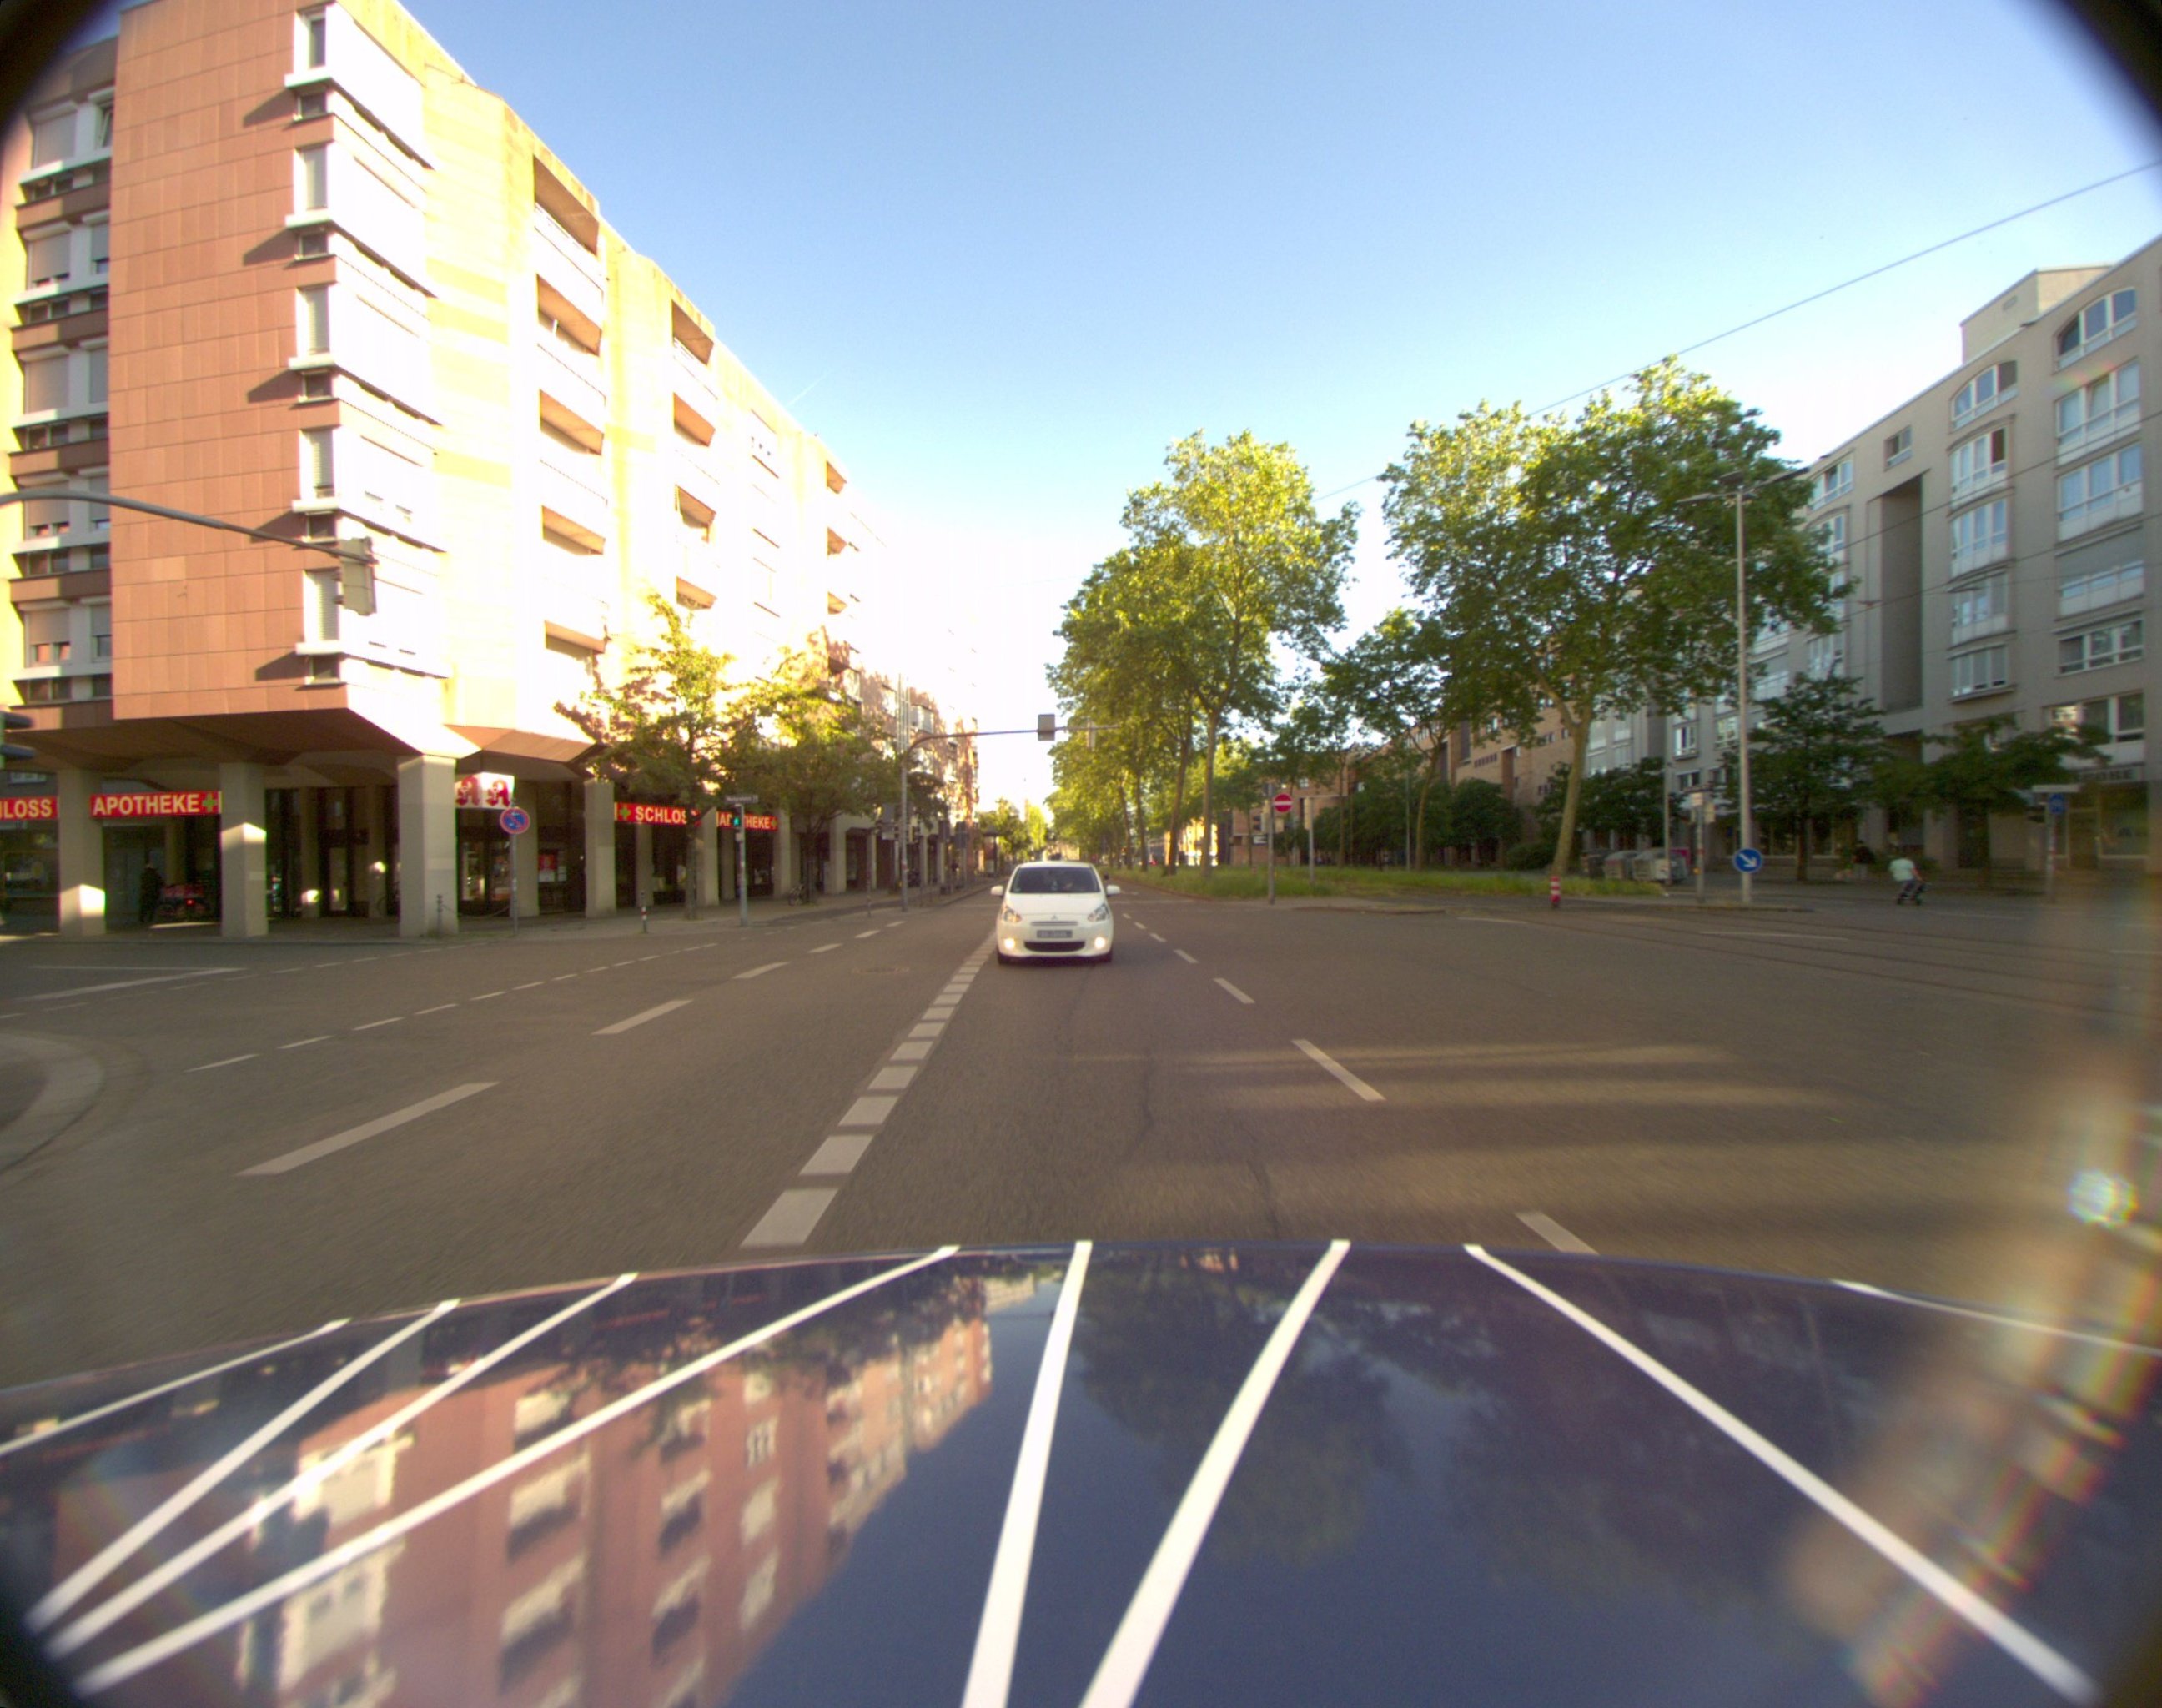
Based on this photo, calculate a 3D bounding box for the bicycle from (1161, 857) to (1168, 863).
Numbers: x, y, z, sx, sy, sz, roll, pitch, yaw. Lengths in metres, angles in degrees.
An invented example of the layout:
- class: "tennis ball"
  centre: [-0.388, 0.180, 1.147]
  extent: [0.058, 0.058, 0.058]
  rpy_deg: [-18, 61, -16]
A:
- class: "bicycle"
  centre: [17.354, 1.192, 157.937]
  extent: [0.959, 1.119, 2.436]
  rpy_deg: [-1, 0, -1]

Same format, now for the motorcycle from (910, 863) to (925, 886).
- class: "motorcycle"
  centre: [-10.161, 1.244, 47.353]
  extent: [0.489, 1.364, 2.090]
  rpy_deg: [-1, 0, -1]

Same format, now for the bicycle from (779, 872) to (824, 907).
- class: "bicycle"
  centre: [-10.398, 1.317, 28.343]
  extent: [0.623, 1.218, 1.928]
  rpy_deg: [-1, 0, 11]

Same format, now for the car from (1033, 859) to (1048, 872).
- class: "car"
  centre: [-5.982, 1.681, 112.273]
  extent: [2.043, 1.932, 5.197]
  rpy_deg: [1, -1, -3]

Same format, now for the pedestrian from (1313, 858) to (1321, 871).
- class: "pedestrian"
  centre: [30.629, 1.353, 98.566]
  extent: [0.665, 1.607, 0.756]
  rpy_deg: [-1, 0, -2]

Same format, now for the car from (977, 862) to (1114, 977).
- class: "car"
  centre: [-0.383, 0.907, 12.349]
  extent: [1.720, 1.442, 4.426]
  rpy_deg: [-3, -1, 3]

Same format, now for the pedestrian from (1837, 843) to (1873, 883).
- class: "pedestrian"
  centre: [31.991, 0.372, 31.414]
  extent: [0.708, 1.629, 0.789]
  rpy_deg: [-1, 0, 10]

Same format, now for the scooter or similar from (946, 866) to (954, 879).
- class: "scooter or similar"
  centre: [-13.026, 1.831, 75.722]
  extent: [0.486, 1.209, 1.448]
  rpy_deg: [-1, 0, -21]

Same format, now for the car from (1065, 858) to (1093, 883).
- class: "car"
  centre: [-0.183, 1.102, 52.987]
  extent: [1.824, 1.630, 4.000]
  rpy_deg: [-1, 0, -1]

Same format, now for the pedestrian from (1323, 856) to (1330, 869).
- class: "pedestrian"
  centre: [31.338, 1.056, 96.951]
  extent: [0.665, 1.607, 0.756]
  rpy_deg: [-1, 0, -2]

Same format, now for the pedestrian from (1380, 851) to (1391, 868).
- class: "pedestrian"
  centre: [32.071, 0.596, 79.981]
  extent: [0.826, 1.820, 0.901]
  rpy_deg: [-1, 0, 0]

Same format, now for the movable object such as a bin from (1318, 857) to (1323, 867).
- class: "movable object such as a bin"
  centre: [30.317, 1.000, 96.078]
  extent: [0.356, 1.271, 0.756]
  rpy_deg: [-1, 0, -2]

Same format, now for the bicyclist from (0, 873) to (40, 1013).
- class: "bicyclist"
  centre: [-14.113, 1.139, 9.607]
  extent: [0.827, 1.760, 0.789]
  rpy_deg: [-1, 0, 7]

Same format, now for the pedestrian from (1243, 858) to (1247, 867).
- class: "pedestrian"
  centre: [29.385, 1.565, 136.195]
  extent: [0.418, 1.534, 0.652]
  rpy_deg: [-1, 0, -13]

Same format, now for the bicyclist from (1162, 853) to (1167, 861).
- class: "bicyclist"
  centre: [17.369, 0.683, 157.730]
  extent: [0.944, 1.561, 1.209]
  rpy_deg: [-1, 0, -1]

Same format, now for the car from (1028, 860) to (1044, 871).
- class: "car"
  centre: [-6.227, 1.575, 104.961]
  extent: [1.706, 1.456, 4.176]
  rpy_deg: [0, -1, 3]

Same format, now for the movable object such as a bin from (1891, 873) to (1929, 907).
- class: "movable object such as a bin"
  centre: [23.874, 1.021, 21.886]
  extent: [0.511, 0.947, 0.540]
  rpy_deg: [-1, 0, 12]

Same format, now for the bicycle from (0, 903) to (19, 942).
- class: "bicycle"
  centre: [-29.897, 1.881, 20.961]
  extent: [1.314, 1.013, 0.613]
  rpy_deg: [-1, 0, 38]

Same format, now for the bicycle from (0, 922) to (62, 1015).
- class: "bicycle"
  centre: [-14.326, 1.456, 9.637]
  extent: [1.918, 1.106, 0.804]
  rpy_deg: [-1, 0, 7]

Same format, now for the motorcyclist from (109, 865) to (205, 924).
- class: "motorcyclist"
  centre: [-27.988, 1.199, 23.049]
  extent: [1.174, 1.679, 1.335]
  rpy_deg: [-2, 1, 2]

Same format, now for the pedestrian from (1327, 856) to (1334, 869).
- class: "pedestrian"
  centre: [31.846, 1.101, 97.066]
  extent: [0.612, 1.669, 0.596]
  rpy_deg: [-1, 0, -2]

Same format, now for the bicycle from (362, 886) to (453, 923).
- class: "bicycle"
  centre: [-20.530, 1.538, 23.160]
  extent: [2.447, 1.088, 0.593]
  rpy_deg: [-1, 0, 8]

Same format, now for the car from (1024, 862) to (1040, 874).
- class: "car"
  centre: [-6.370, 1.779, 99.245]
  extent: [1.706, 1.475, 4.249]
  rpy_deg: [0, -1, 2]

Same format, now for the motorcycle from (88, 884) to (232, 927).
- class: "motorcycle"
  centre: [-27.788, 1.546, 22.972]
  extent: [2.825, 1.171, 1.349]
  rpy_deg: [-1, 0, 3]

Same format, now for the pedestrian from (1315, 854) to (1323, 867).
- class: "pedestrian"
  centre: [30.340, 0.806, 96.867]
  extent: [0.665, 1.712, 0.796]
  rpy_deg: [-1, 0, -2]

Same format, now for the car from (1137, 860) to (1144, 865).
- class: "car"
  centre: [16.463, 2.281, 211.031]
  extent: [1.617, 1.420, 3.221]
  rpy_deg: [-1, -1, -2]

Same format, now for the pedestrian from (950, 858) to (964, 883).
- class: "pedestrian"
  centre: [-8.879, 1.188, 54.483]
  extent: [0.782, 1.728, 0.837]
  rpy_deg: [-1, 0, 7]

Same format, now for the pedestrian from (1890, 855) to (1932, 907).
- class: "pedestrian"
  centre: [24.386, 0.775, 22.325]
  extent: [0.620, 1.494, 0.534]
  rpy_deg: [-1, 0, -2]
